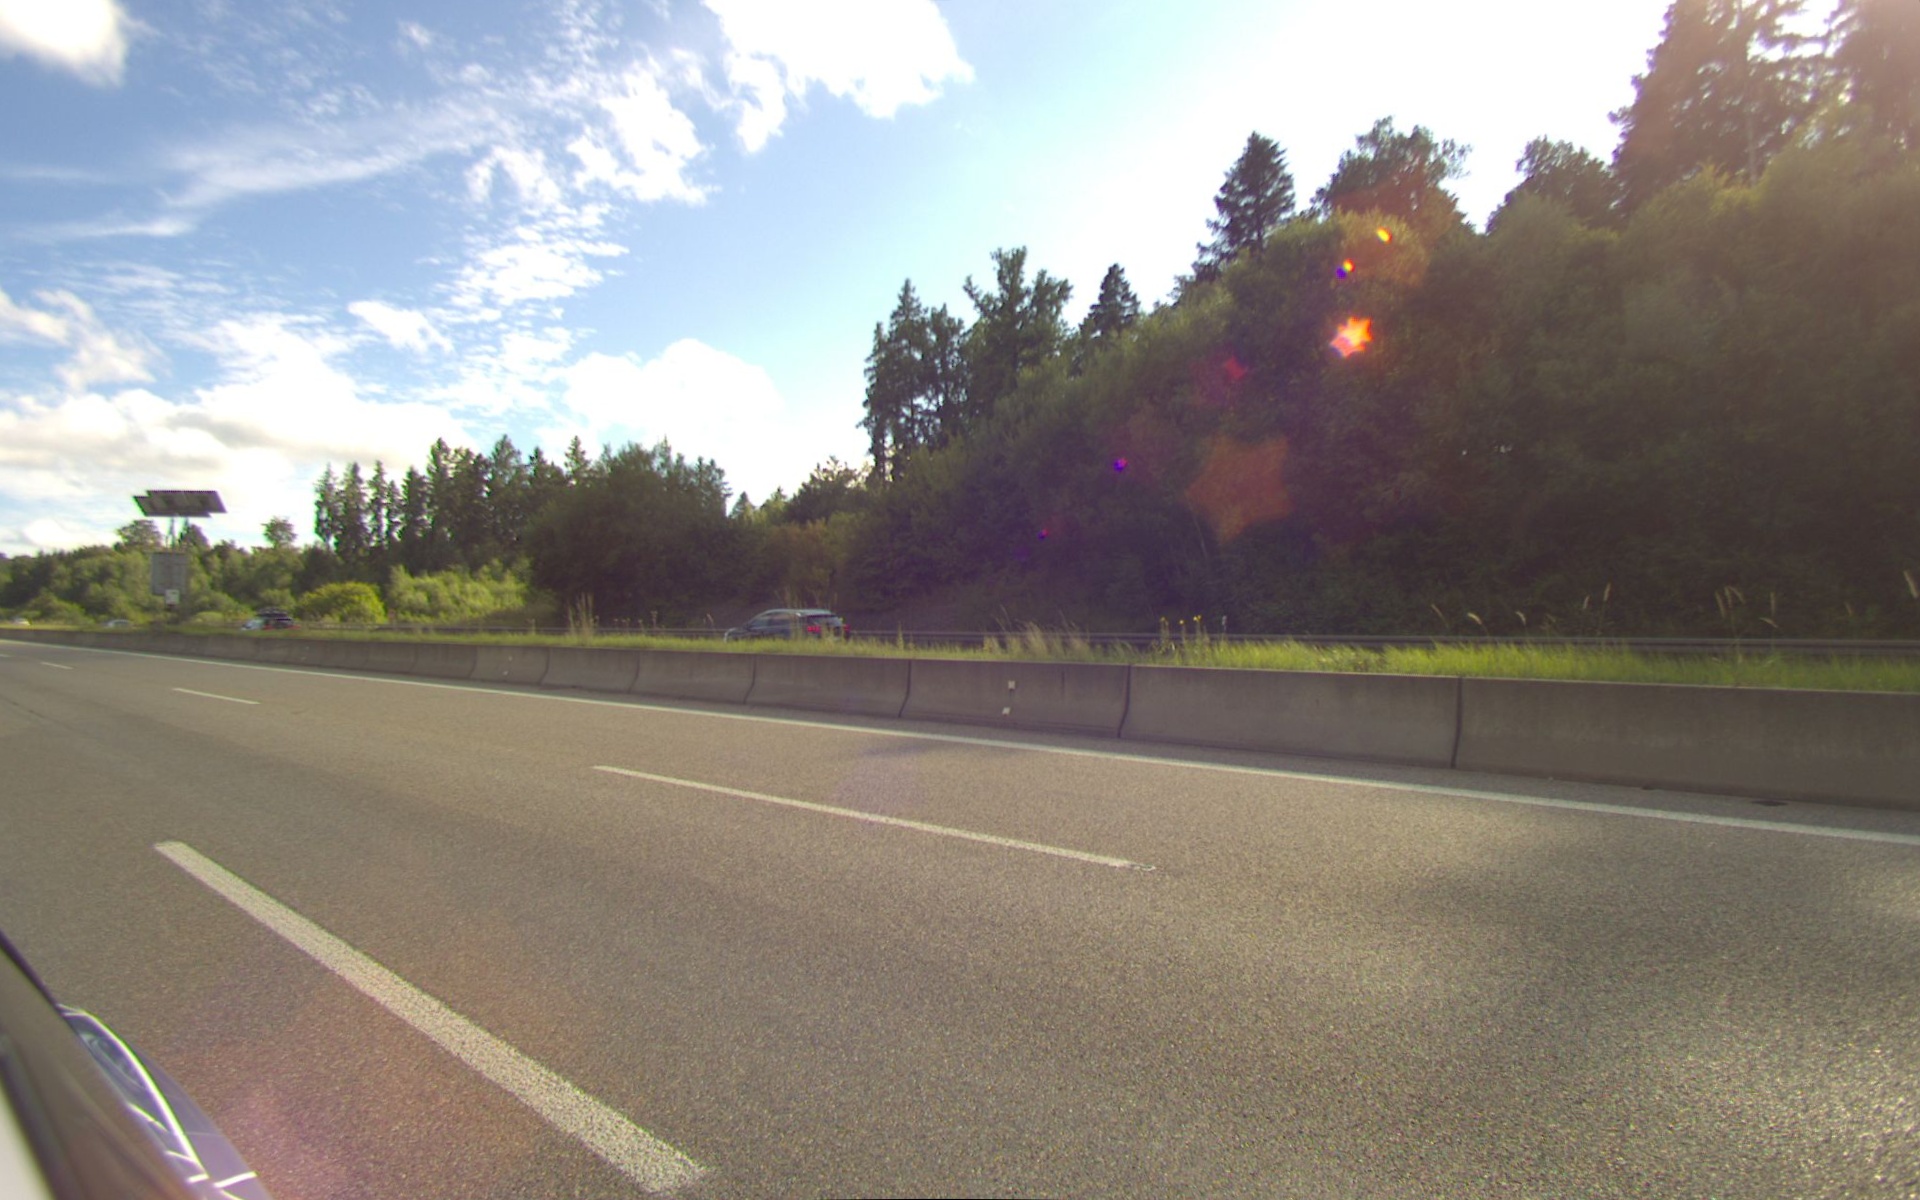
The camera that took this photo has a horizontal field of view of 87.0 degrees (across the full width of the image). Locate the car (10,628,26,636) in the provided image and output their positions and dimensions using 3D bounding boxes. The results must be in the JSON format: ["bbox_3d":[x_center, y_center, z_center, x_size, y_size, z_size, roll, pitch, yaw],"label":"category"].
[{"bbox_3d":[-150.102,5.102,161.214,3.172,1.102,1.575,-1,-1,42],"label":"car"}]

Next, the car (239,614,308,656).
[{"bbox_3d":[-35.363,1.782,52.087,4.069,2.029,1.973,-1,-1,41],"label":"car"}]

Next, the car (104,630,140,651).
[{"bbox_3d":[-77.494,3.721,93.565,4.427,1.920,1.906,-1,-1,41],"label":"car"}]

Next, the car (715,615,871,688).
[{"bbox_3d":[-4.779,1.398,28.608,4.435,1.895,1.973,-1,-1,41],"label":"car"}]
